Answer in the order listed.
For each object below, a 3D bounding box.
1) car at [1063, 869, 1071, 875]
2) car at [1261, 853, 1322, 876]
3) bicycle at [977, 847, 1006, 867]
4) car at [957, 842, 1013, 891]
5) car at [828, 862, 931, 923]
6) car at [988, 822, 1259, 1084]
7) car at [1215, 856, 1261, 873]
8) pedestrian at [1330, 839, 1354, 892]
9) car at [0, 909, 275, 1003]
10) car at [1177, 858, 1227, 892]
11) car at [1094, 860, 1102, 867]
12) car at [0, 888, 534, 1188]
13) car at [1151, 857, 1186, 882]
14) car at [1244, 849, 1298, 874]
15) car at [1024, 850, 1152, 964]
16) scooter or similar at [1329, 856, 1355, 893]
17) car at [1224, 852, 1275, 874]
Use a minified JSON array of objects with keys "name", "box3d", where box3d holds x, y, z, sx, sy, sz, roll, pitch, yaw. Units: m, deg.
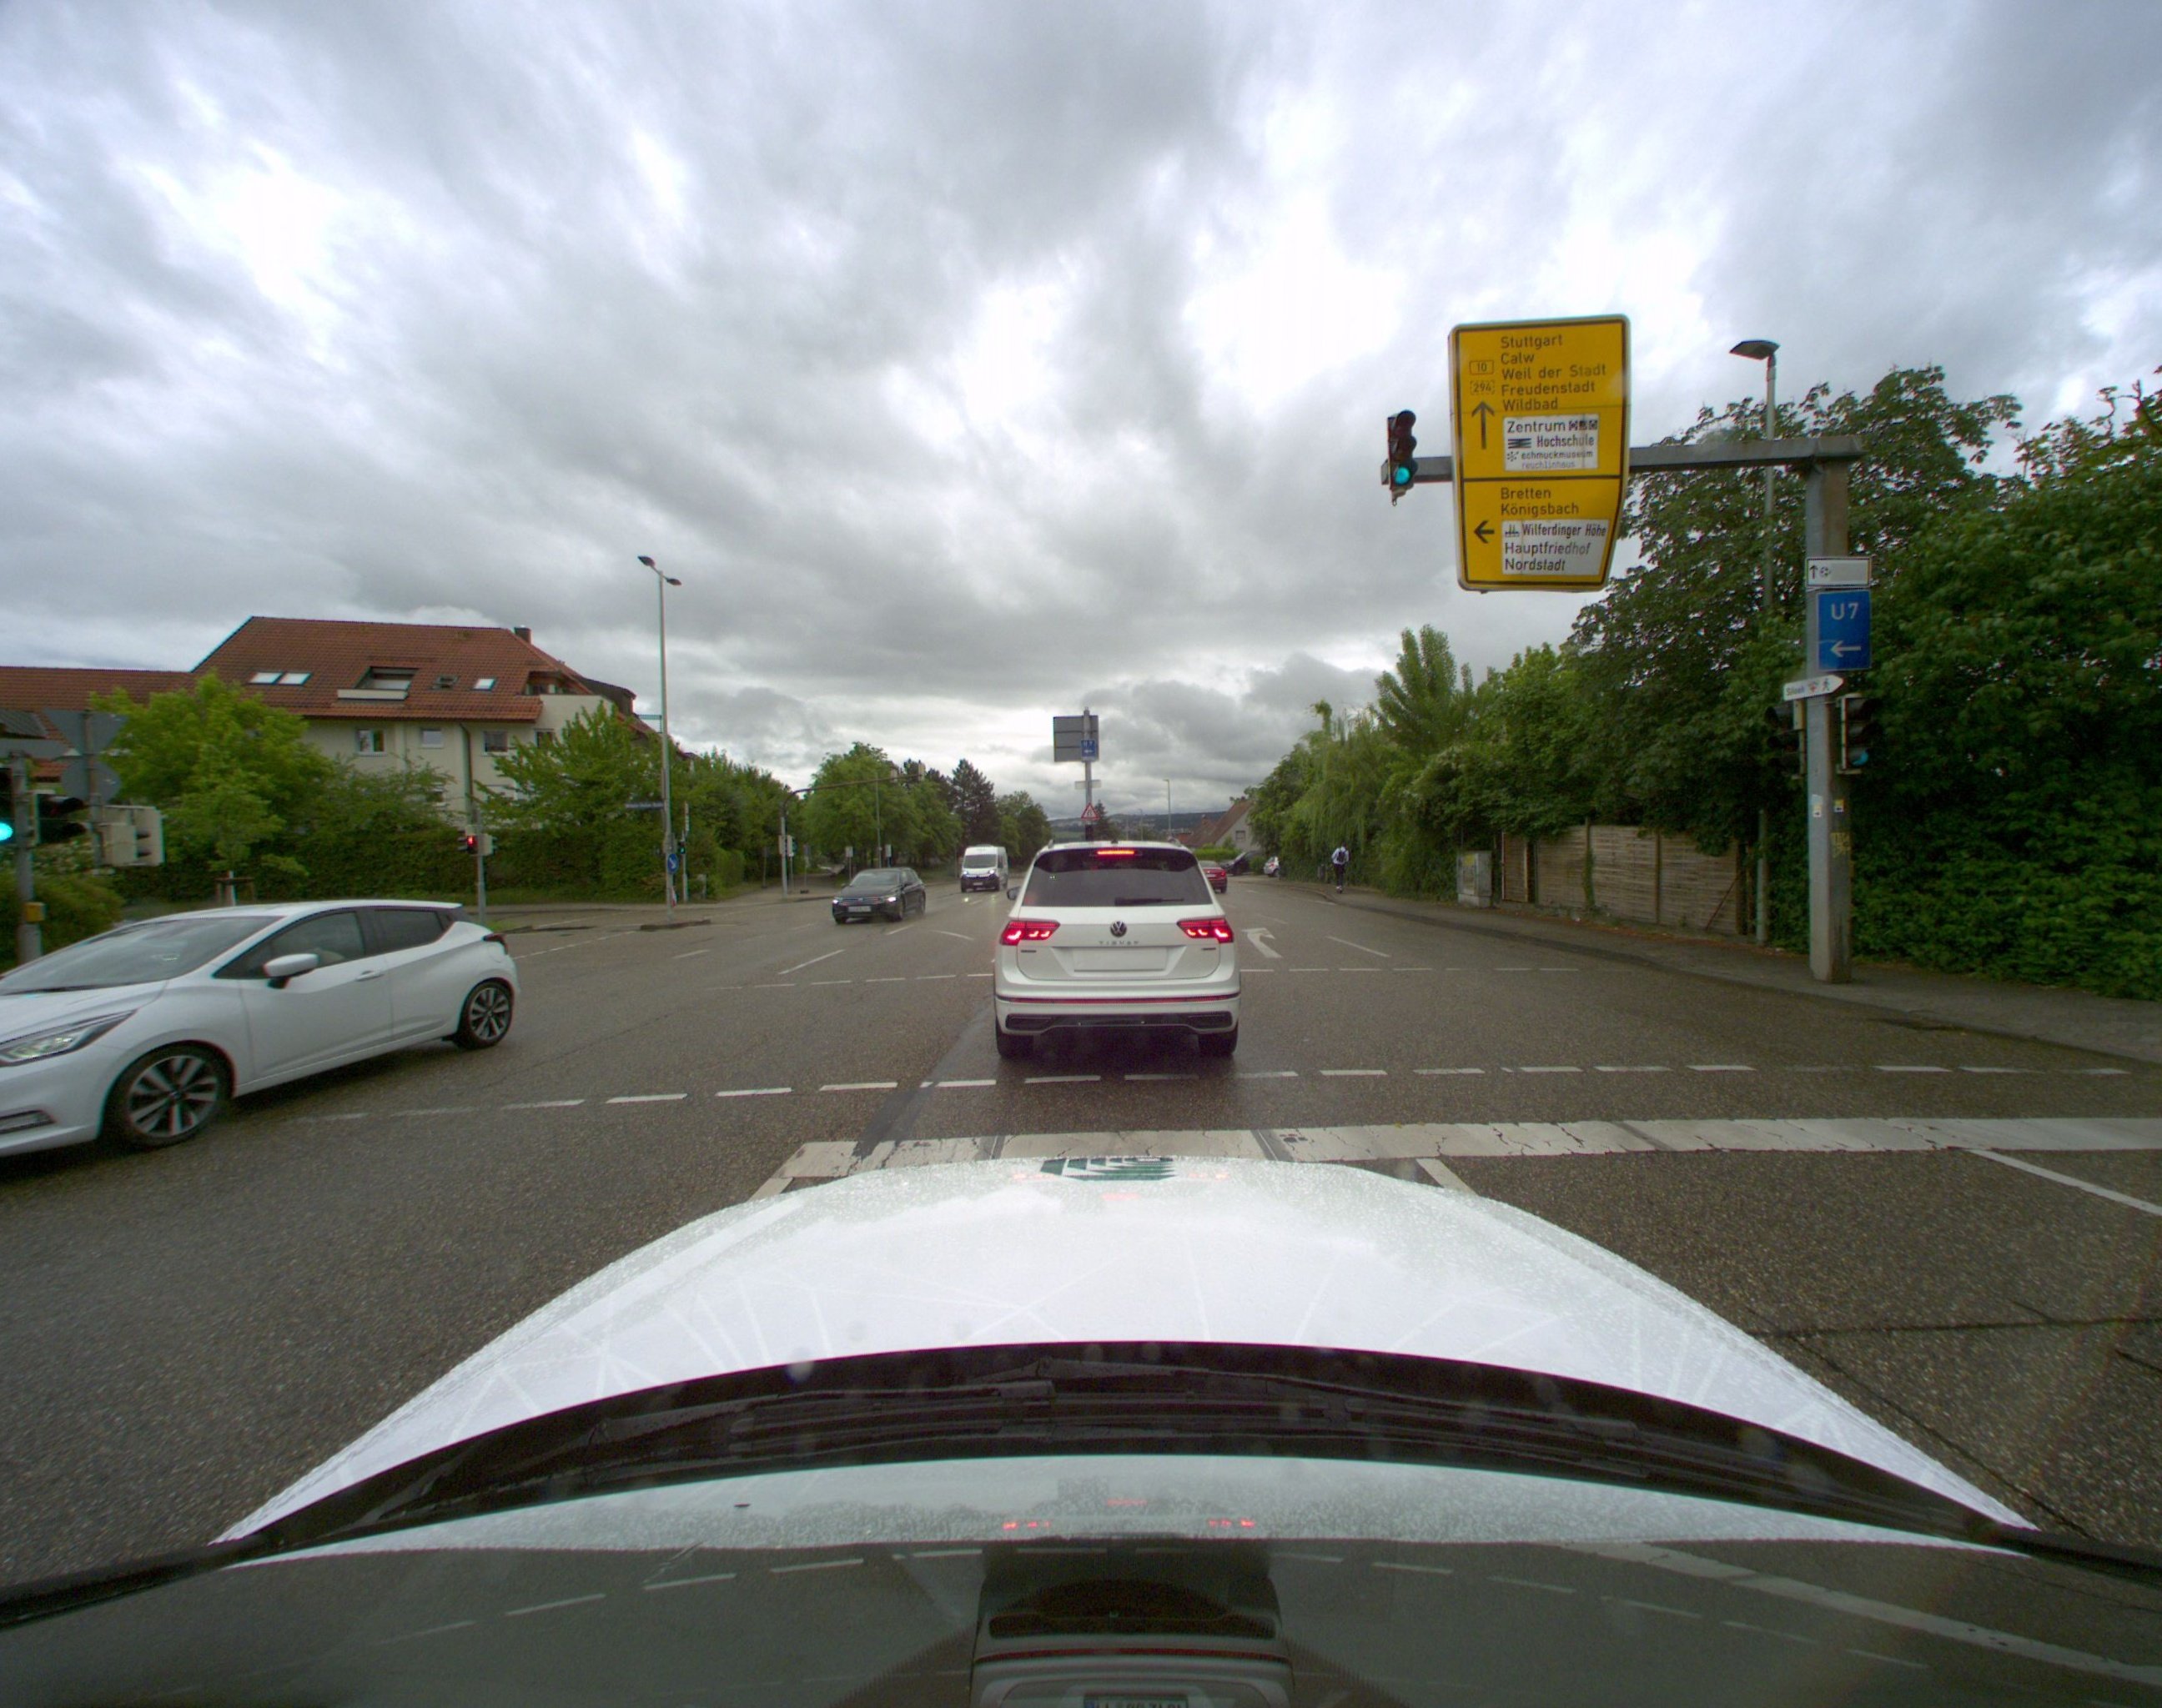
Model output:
[{"name":"car","box3d":[-3.895,4.996,225.711,1.986,1.728,4.001,0,-1,2]},{"name":"car","box3d":[14.514,0.730,56.307,3.709,1.395,1.725,-2,-2,-6]},{"name":"bicycle","box3d":[-5.386,0.173,49.081,1.631,1.126,0.468,-3,0,0]},{"name":"car","box3d":[-5.321,0.659,45.958,2.289,2.528,5.774,-2,0,1]},{"name":"car","box3d":[-5.715,1.043,23.686,1.770,1.502,4.472,-2,0,1]},{"name":"car","box3d":[0.320,0.643,7.475,1.756,1.696,4.273,-1,0,1]},{"name":"car","box3d":[13.270,0.888,68.958,3.675,1.370,1.518,-1,-2,0]},{"name":"pedestrian","box3d":[9.914,0.432,30.961,0.654,2.002,0.717,-1,-1,-2]},{"name":"car","box3d":[-19.796,2.074,16.716,4.413,1.393,1.774,-4,1,-5]},{"name":"car","box3d":[5.325,0.882,36.201,1.620,1.403,3.688,0,0,0]},{"name":"car","box3d":[4.312,2.373,201.034,1.843,1.574,4.002,-2,0,2]},{"name":"car","box3d":[-6.343,1.091,6.117,1.740,1.397,3.803,-4,0,1]},{"name":"car","box3d":[5.399,0.932,50.587,1.659,1.427,4.304,0,0,-1]},{"name":"car","box3d":[14.373,0.534,61.620,3.618,1.746,1.707,-1,1,-2]},{"name":"car","box3d":[0.174,0.753,13.482,1.791,1.589,3.928,-1,0,2]},{"name":"scooter or similar","box3d":[9.894,0.754,30.888,0.460,1.361,1.384,-1,0,-2]},{"name":"car","box3d":[13.258,0.684,64.128,3.618,1.626,1.790,-1,0,-3]}]
